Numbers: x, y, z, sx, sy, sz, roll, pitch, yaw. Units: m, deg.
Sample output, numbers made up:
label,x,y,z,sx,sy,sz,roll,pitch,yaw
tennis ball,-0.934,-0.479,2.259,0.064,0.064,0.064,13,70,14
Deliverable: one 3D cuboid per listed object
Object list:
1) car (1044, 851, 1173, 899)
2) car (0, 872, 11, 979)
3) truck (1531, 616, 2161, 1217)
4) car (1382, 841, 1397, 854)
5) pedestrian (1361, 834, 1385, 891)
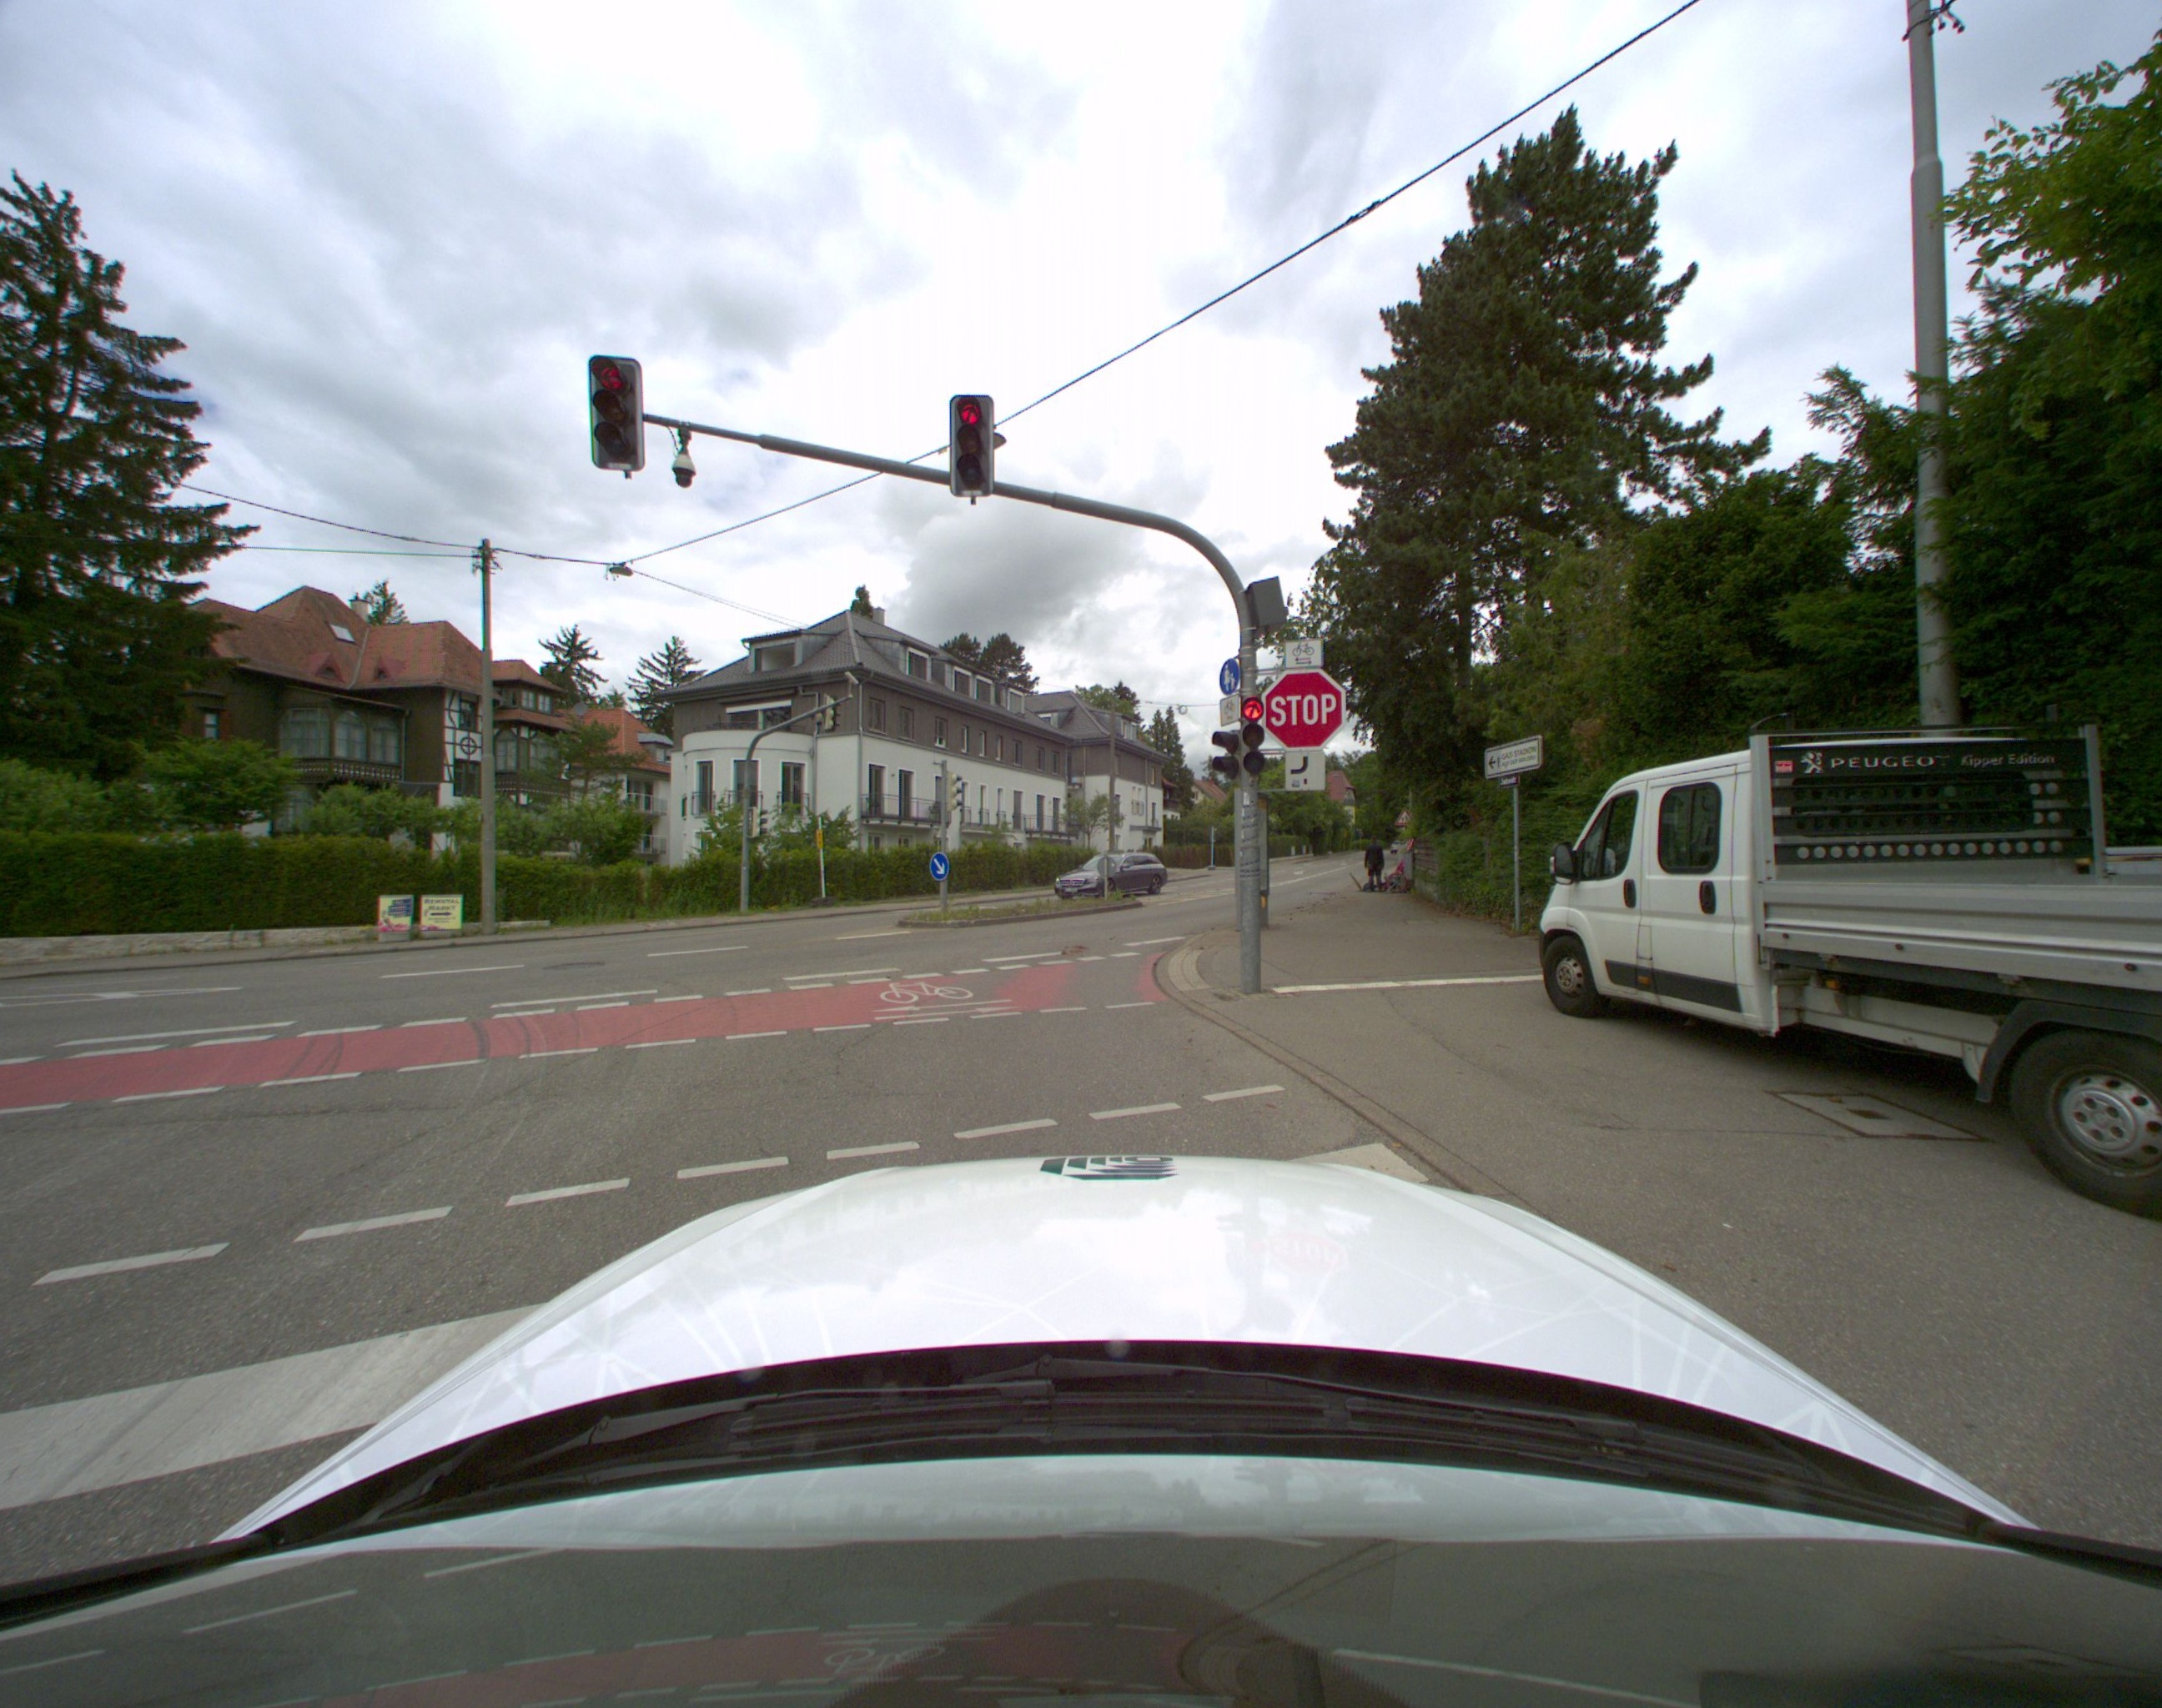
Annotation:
label,x,y,z,sx,sy,sz,roll,pitch,yaw
car,1.020,0.634,27.272,1.920,1.403,4.773,-1,0,36
car,-20.948,1.302,12.487,5.153,1.881,1.901,-2,-1,-27
truck,5.263,0.234,4.952,2.198,2.243,5.729,0,0,4
car,41.899,-0.869,110.498,1.791,1.753,4.511,-2,0,22
pedestrian,9.796,0.277,27.359,0.594,1.907,0.559,0,-1,2
